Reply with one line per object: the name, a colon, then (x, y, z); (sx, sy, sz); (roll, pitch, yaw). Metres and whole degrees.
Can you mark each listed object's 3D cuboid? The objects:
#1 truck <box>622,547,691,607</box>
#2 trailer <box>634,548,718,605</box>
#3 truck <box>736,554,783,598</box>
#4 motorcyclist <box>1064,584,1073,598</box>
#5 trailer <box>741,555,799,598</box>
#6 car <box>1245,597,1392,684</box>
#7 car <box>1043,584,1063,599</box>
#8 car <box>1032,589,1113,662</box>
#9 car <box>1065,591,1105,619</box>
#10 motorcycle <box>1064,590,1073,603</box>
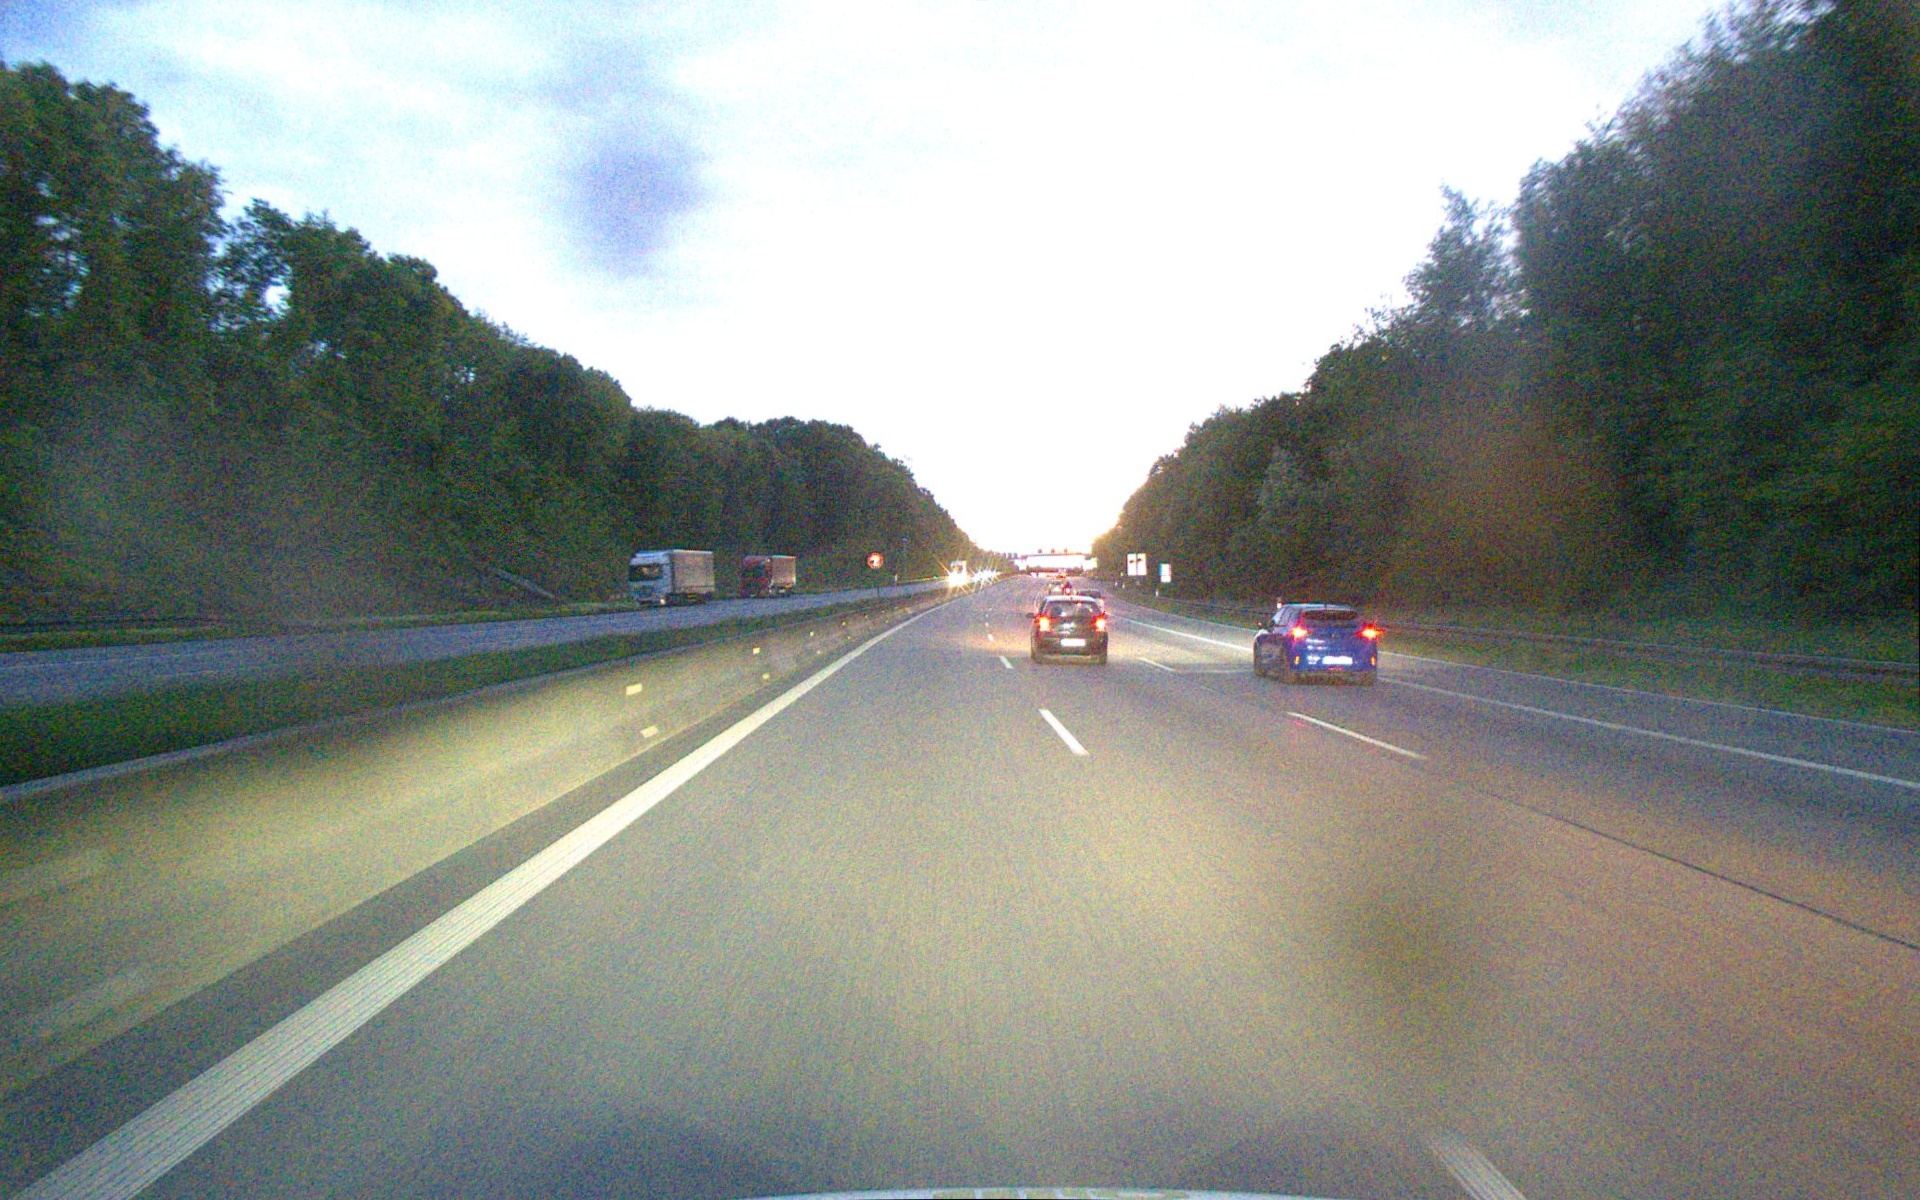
truck: (-22.088, -1.660, 120.772); (3.124, 4.176, 7.694); (0, 0, 4)
trailer: (-21.647, -1.753, 127.083); (3.124, 4.176, 13.747); (0, 0, 4)
truck: (-19.518, -2.314, 161.566); (3.124, 4.176, 7.694); (0, 0, 4)
motorcyclist: (10.078, -0.854, 153.263); (0.812, 1.314, 1.190); (-1, 0, 3)
trailer: (-19.105, -2.295, 167.156); (3.124, 4.176, 14.191); (0, 0, 4)
car: (6.681, 0.704, 31.315); (1.827, 1.461, 4.584); (1, 1, 1)
car: (9.960, -0.892, 176.640); (1.827, 1.520, 4.398); (1, 0, -1)
car: (2.513, 0.560, 37.674); (1.668, 1.536, 4.233); (1, 0, 2)
car: (6.897, 0.275, 91.525); (1.788, 1.501, 4.398); (1, 0, -1)
motorcycle: (10.090, -0.326, 153.334); (0.812, 1.154, 2.477); (-1, 0, 3)
